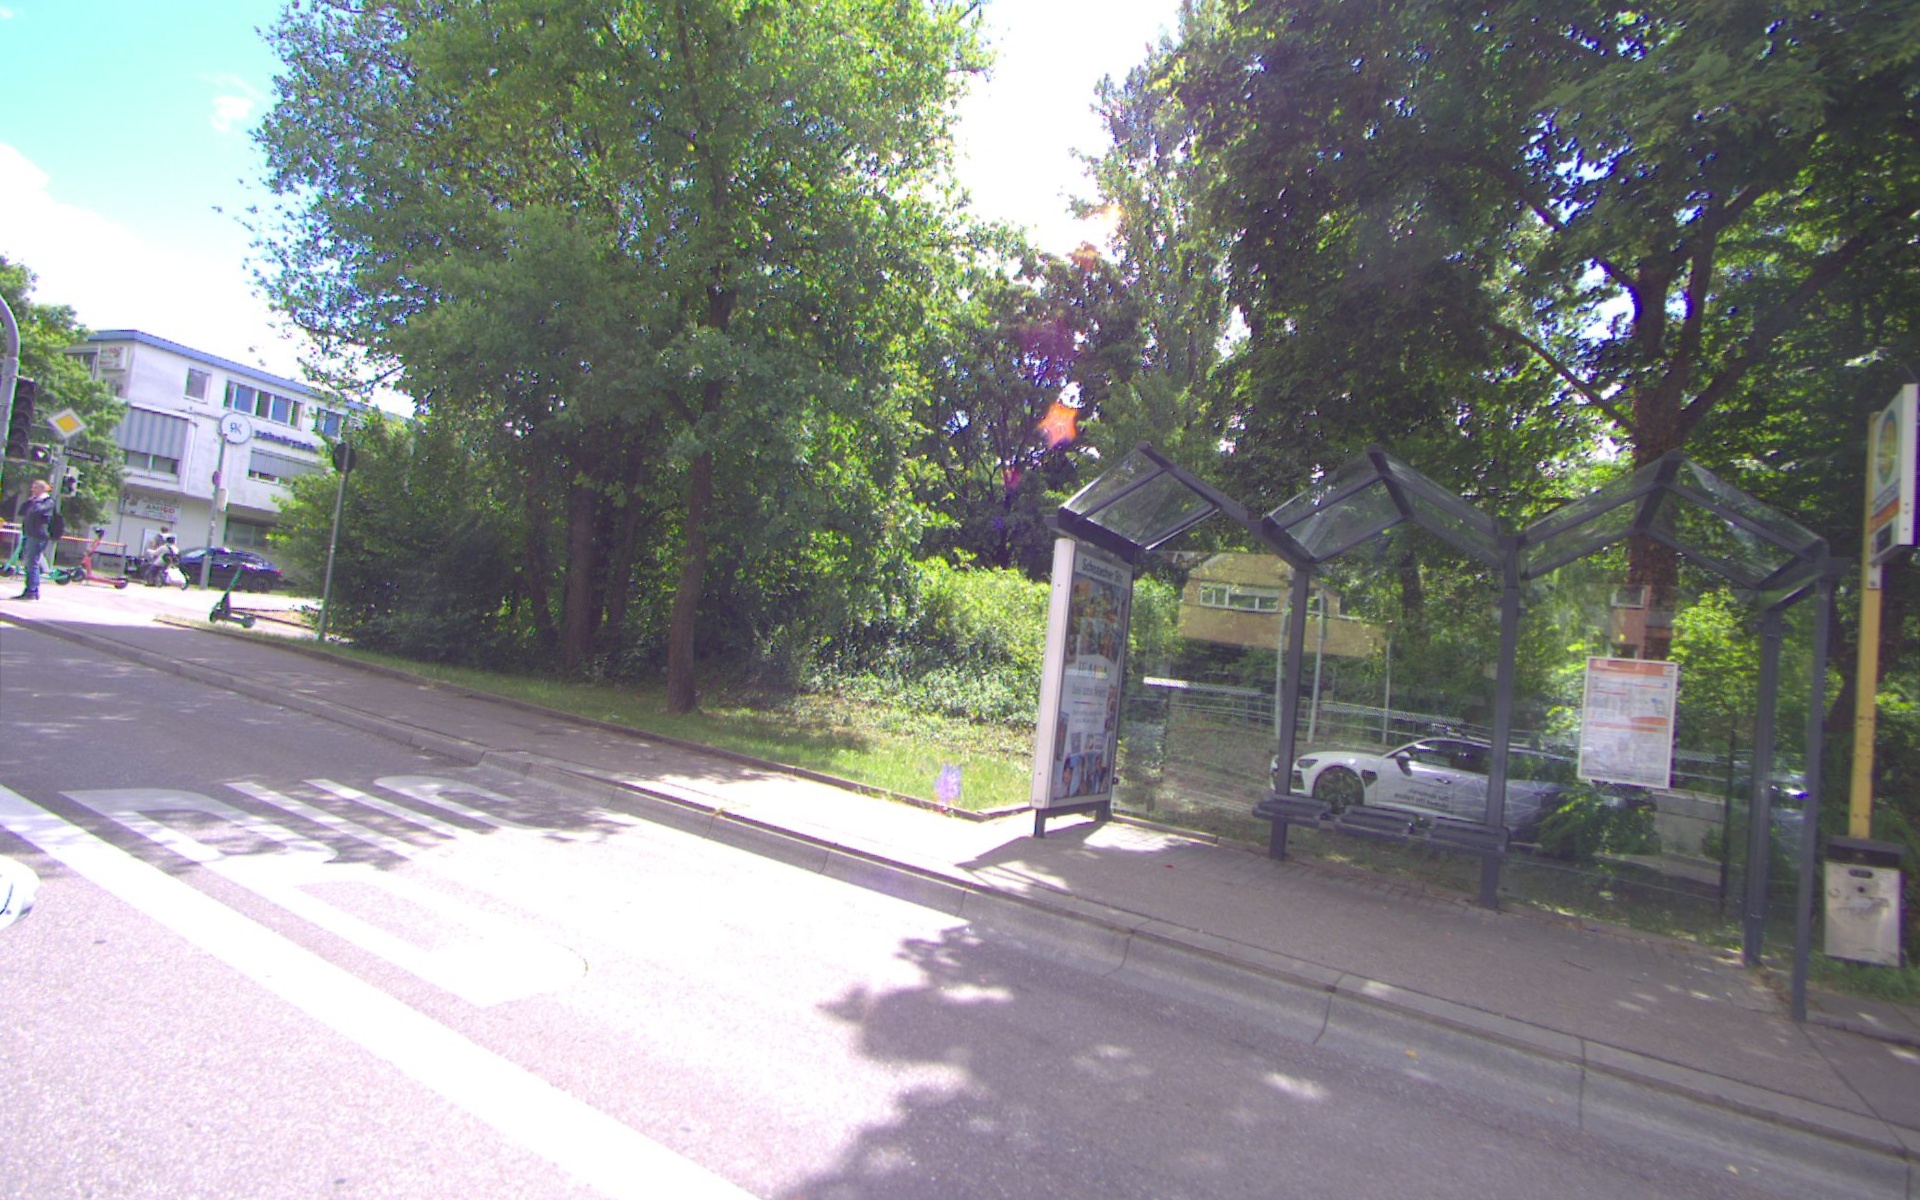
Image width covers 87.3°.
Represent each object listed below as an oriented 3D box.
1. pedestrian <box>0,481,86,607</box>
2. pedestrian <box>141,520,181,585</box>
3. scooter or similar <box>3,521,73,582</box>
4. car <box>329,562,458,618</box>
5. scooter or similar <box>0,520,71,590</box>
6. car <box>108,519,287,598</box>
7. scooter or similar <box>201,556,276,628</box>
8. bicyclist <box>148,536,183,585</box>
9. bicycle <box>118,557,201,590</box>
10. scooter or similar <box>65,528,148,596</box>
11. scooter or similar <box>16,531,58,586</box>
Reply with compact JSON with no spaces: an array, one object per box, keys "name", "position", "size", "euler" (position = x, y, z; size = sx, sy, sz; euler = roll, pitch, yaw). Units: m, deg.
[{"name":"pedestrian","position":[-15.164,-0.908,16.507],"size":[0.996,1.898,0.797],"euler":[7,-1,32]},{"name":"pedestrian","position":[-22.605,-1.339,28.475],"size":[0.652,1.733,0.458],"euler":[8,-1,-32]},{"name":"scooter or similar","position":[-20.085,-1.051,21.928],"size":[0.451,1.170,0.943],"euler":[6,-2,34]},{"name":"car","position":[-24.207,-0.386,43.179],"size":[1.964,1.783,4.388],"euler":[6,-3,23]},{"name":"scooter or similar","position":[-18.893,-0.912,20.388],"size":[0.531,1.249,1.111],"euler":[6,-2,34]},{"name":"car","position":[-27.138,-1.426,36.011],"size":[1.964,2.036,4.552],"euler":[7,-3,25]},{"name":"scooter or similar","position":[-14.230,-0.147,19.851],"size":[0.447,1.242,0.893],"euler":[7,-6,32]},{"name":"bicyclist","position":[-20.426,-1.008,25.873],"size":[0.393,1.170,0.502],"euler":[7,-1,-9]},{"name":"bicycle","position":[-20.554,-0.676,25.865],"size":[1.563,0.617,0.534],"euler":[8,-2,-7]},{"name":"scooter or similar","position":[-18.810,-0.828,22.177],"size":[0.546,1.286,1.153],"euler":[6,-3,34]},{"name":"scooter or similar","position":[-20.213,-0.918,22.026],"size":[0.546,1.076,1.246],"euler":[8,-2,-44]}]
